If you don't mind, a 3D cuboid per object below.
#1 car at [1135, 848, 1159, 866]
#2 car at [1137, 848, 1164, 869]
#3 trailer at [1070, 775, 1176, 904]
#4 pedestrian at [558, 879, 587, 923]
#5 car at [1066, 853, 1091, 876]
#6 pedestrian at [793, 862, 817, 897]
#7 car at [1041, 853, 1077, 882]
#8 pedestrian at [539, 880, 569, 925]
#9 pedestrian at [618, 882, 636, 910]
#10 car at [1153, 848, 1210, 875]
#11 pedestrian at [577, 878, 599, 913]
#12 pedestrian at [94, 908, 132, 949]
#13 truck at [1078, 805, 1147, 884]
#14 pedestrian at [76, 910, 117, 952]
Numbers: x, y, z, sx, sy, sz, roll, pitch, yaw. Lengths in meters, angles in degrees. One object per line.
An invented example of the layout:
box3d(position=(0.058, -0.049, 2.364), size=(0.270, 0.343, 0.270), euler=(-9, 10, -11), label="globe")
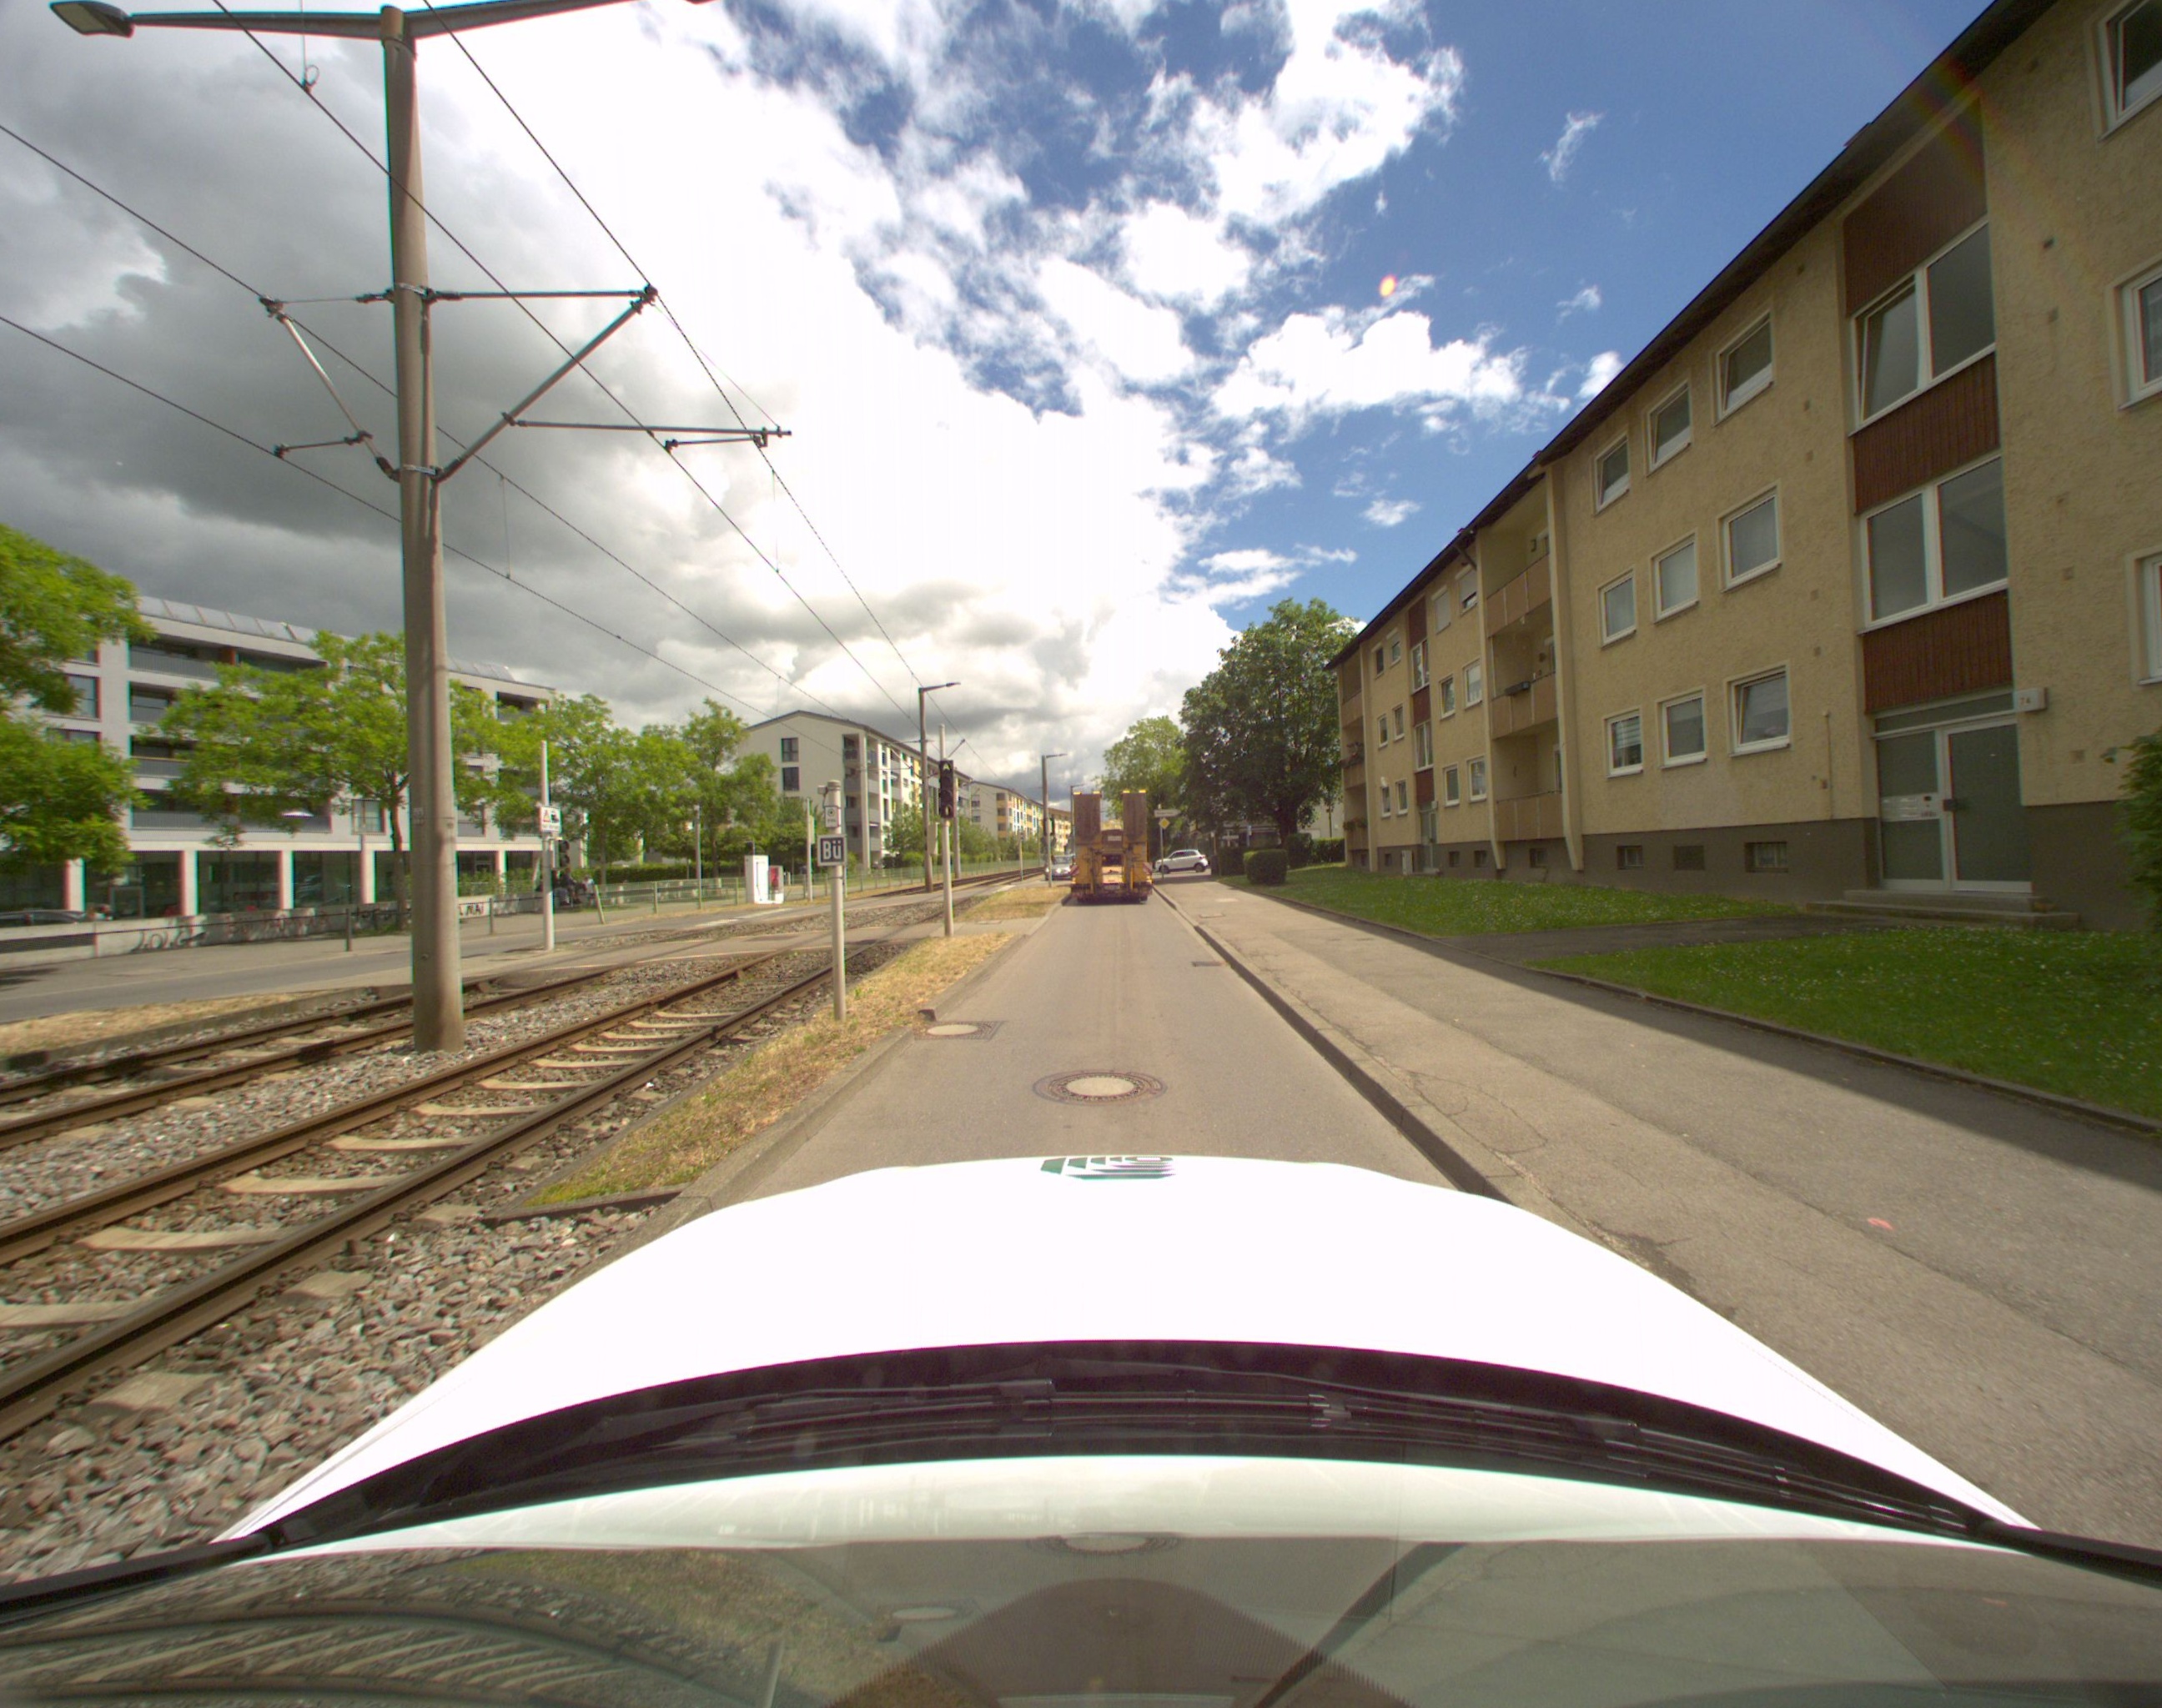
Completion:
box3d(position=(6.065, 0.244, 75.154), size=(1.986, 1.387, 4.002), euler=(-4, 1, 2), label="car")
box3d(position=(5.941, 0.362, 70.253), size=(1.986, 1.617, 4.002), euler=(-4, 1, 2), label="car")
box3d(position=(1.280, -0.528, 30.708), size=(3.041, 3.772, 11.611), euler=(-4, 1, 0), label="trailer")
box3d(position=(-19.085, 1.767, 30.586), size=(0.619, 1.573, 0.559), euler=(-3, 1, 7), label="pedestrian")
box3d(position=(-0.164, 0.879, 66.327), size=(1.594, 1.732, 3.943), euler=(-3, -1, 5), label="car")
box3d(position=(-13.601, 1.241, 40.162), size=(0.746, 1.661, 0.871), euler=(-3, 1, 6), label="pedestrian")
box3d(position=(-1.359, 0.834, 51.808), size=(1.794, 1.652, 4.137), euler=(-3, -1, 5), label="car")
box3d(position=(-19.192, 1.749, 29.657), size=(0.618, 1.573, 0.560), euler=(-3, 1, 13), label="pedestrian")
box3d(position=(-21.323, 1.968, 38.251), size=(0.539, 1.246, 0.460), euler=(-3, 1, 23), label="pedestrian")
box3d(position=(6.952, 0.505, 55.972), size=(3.572, 1.584, 2.008), euler=(-3, -1, 14), label="car")
box3d(position=(-22.733, 1.903, 37.548), size=(0.539, 1.547, 0.531), euler=(-3, 1, 23), label="pedestrian")
box3d(position=(-27.619, 2.122, 23.238), size=(0.494, 1.096, 0.581), euler=(-3, 0, 27), label="pedestrian")
box3d(position=(1.394, -0.476, 39.823), size=(2.825, 3.330, 7.983), euler=(-4, 1, 0), label="truck")
box3d(position=(-27.038, 2.104, 22.370), size=(0.494, 1.096, 0.581), euler=(-3, 0, 27), label="pedestrian")
